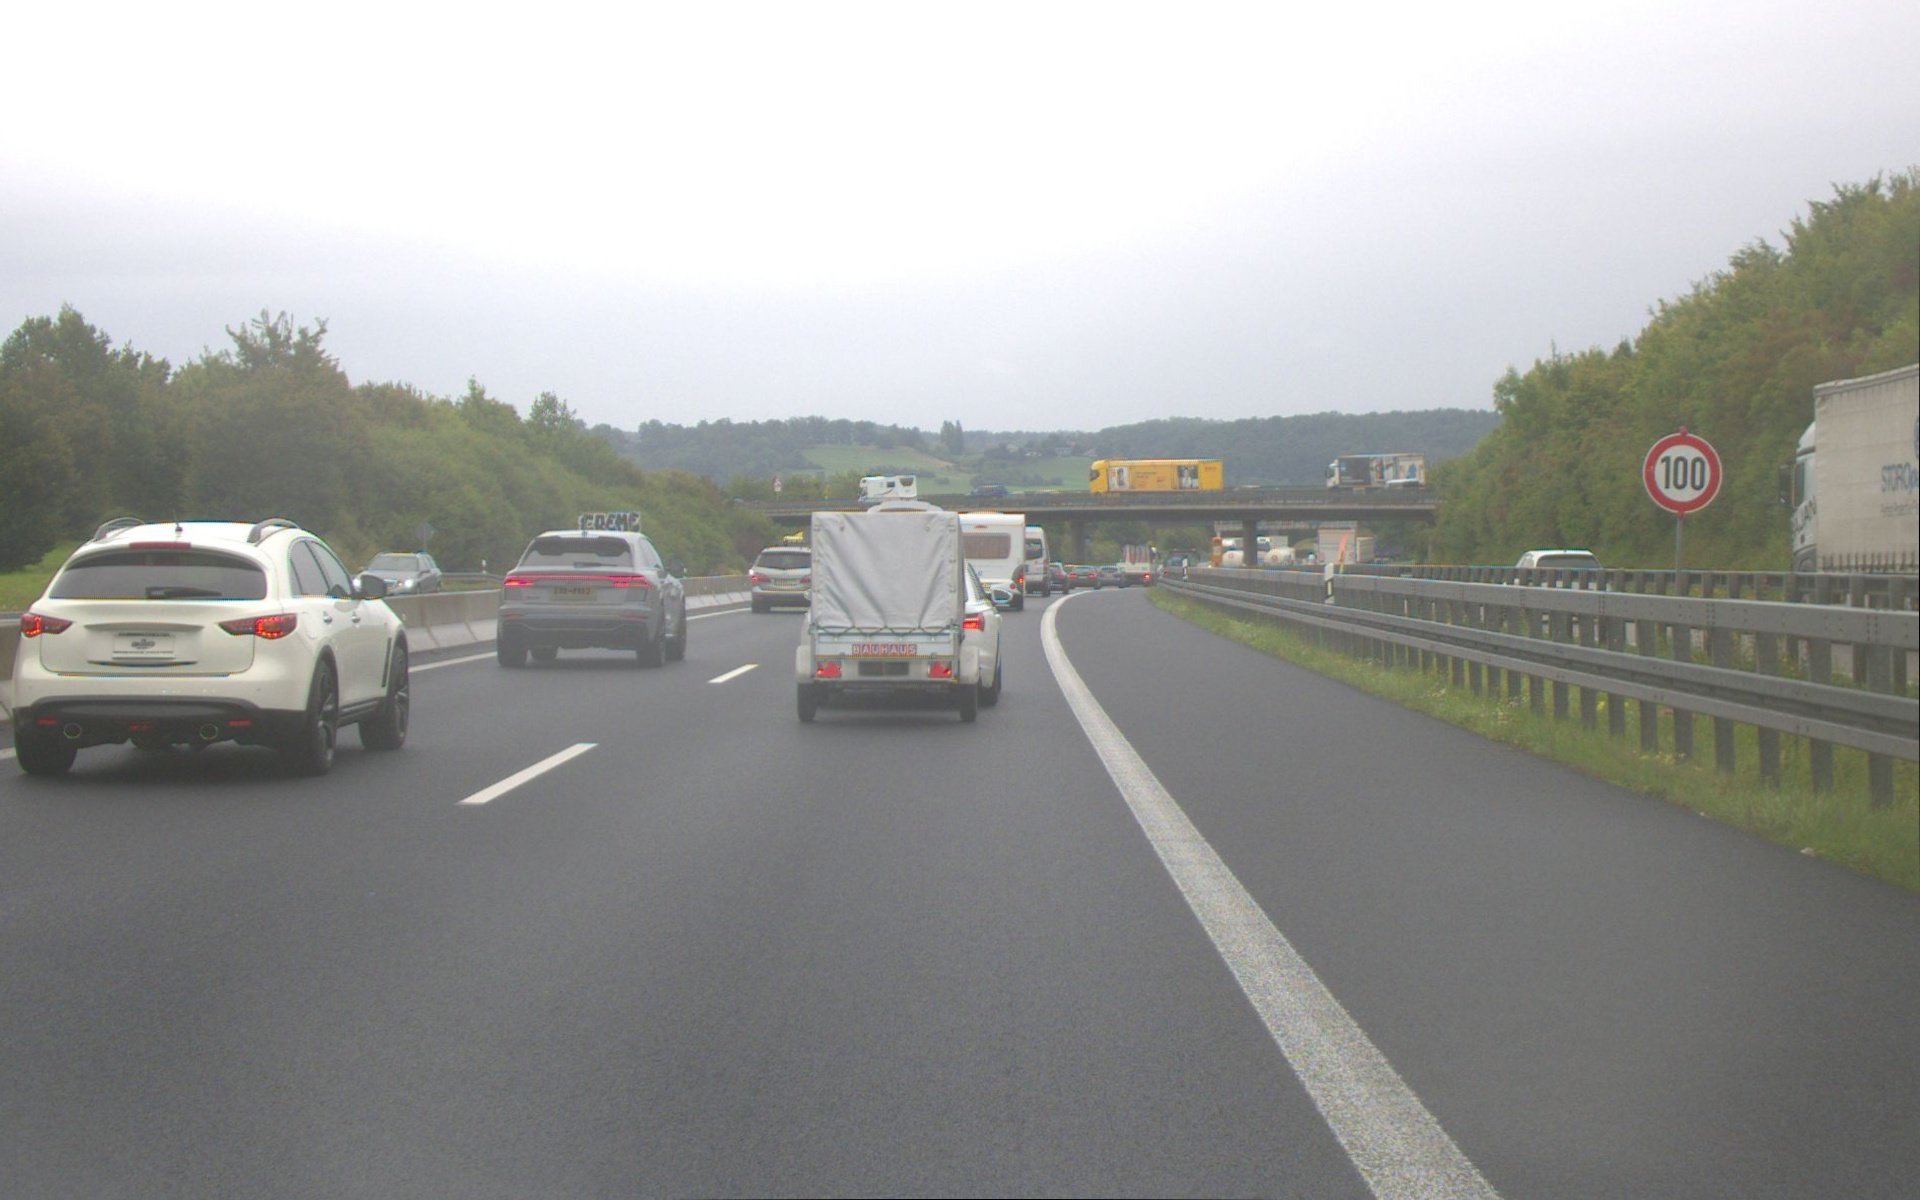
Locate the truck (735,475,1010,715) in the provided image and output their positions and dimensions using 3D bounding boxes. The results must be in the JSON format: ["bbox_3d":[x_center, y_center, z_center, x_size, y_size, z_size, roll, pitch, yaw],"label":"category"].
[{"bbox_3d":[-0.671,-0.113,32.056,2.019,1.979,7.212,0,1,3],"label":"truck"}]

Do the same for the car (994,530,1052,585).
[{"bbox_3d":[2.404,-1.643,132.240,1.993,2.029,4.152,1,1,-1],"label":"car"}]

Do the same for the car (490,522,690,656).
[{"bbox_3d":[-4.654,-0.168,43.855,2.174,1.626,4.501,0,1,-1],"label":"car"}]

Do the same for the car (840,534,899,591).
[{"bbox_3d":[-2.967,-1.244,113.166,1.842,1.813,4.000,0,1,0],"label":"car"}]

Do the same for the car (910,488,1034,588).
[{"bbox_3d":[0.368,-1.669,92.172,3.017,2.607,6.074,0,1,3],"label":"car"}]

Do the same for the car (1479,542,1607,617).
[{"bbox_3d":[11.578,-0.431,68.525,1.860,1.442,4.158,0,1,0],"label":"car"}]

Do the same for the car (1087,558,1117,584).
[{"bbox_3d":[9.764,-2.014,236.406,1.994,1.744,4.000,1,1,3],"label":"car"}]

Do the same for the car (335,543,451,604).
[{"bbox_3d":[-16.267,-0.784,98.921,2.180,1.690,5.249,0,1,4],"label":"car"}]

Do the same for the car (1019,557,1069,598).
[{"bbox_3d":[3.696,-0.999,151.559,1.993,1.744,4.000,1,1,-1],"label":"car"}]

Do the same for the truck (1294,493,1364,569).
[{"bbox_3d":[25.345,-4.753,236.572,4.094,5.086,10.463,0,1,2],"label":"truck"}]

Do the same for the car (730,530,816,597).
[{"bbox_3d":[-4.558,-0.917,84.212,1.900,1.607,4.017,0,1,0],"label":"car"}]

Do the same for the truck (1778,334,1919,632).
[{"bbox_3d":[15.581,-1.763,53.522,3.437,4.274,10.418,0,1,2],"label":"truck"}]

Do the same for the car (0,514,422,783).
[{"bbox_3d":[-4.927,0.264,23.154,1.976,1.633,4.501,0,1,-1],"label":"car"}]

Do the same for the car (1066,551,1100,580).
[{"bbox_3d":[7.430,-2.083,207.113,1.994,1.744,4.000,1,1,2],"label":"car"}]
